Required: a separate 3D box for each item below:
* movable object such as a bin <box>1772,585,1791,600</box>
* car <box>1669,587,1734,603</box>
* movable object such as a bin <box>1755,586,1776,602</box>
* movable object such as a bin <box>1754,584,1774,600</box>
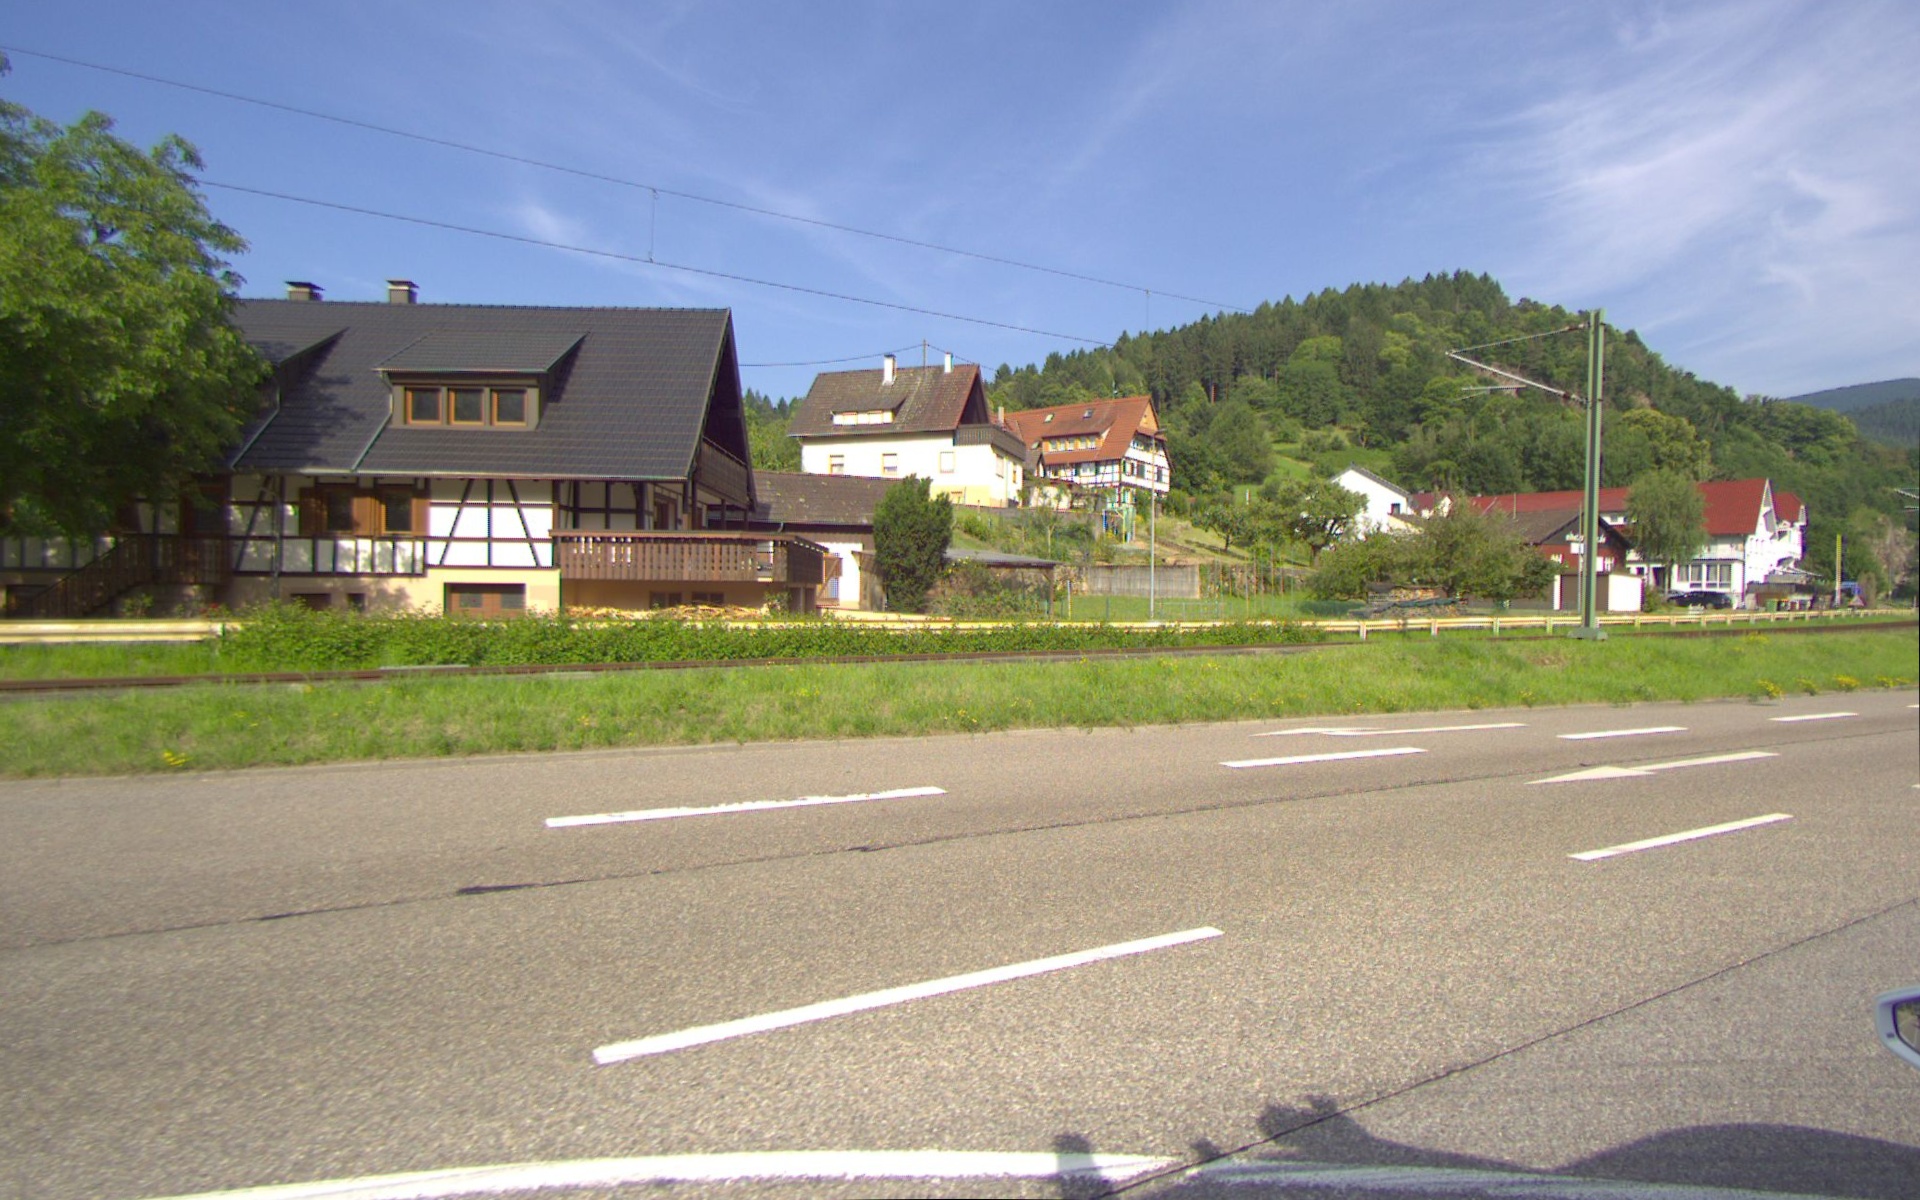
[{"bbox_3d":[69.999,-0.622,85.617,1.134,1.208,1.080,0,1,-42],"label":"movable object such as a bin"},{"bbox_3d":[61.632,-0.423,83.539,1.722,1.287,4.061,0,1,-39],"label":"car"},{"bbox_3d":[62.109,-0.430,77.432,1.127,1.208,1.087,2,1,43],"label":"movable object such as a bin"},{"bbox_3d":[61.271,-0.593,76.538,1.127,1.208,1.087,2,1,43],"label":"movable object such as a bin"}]
